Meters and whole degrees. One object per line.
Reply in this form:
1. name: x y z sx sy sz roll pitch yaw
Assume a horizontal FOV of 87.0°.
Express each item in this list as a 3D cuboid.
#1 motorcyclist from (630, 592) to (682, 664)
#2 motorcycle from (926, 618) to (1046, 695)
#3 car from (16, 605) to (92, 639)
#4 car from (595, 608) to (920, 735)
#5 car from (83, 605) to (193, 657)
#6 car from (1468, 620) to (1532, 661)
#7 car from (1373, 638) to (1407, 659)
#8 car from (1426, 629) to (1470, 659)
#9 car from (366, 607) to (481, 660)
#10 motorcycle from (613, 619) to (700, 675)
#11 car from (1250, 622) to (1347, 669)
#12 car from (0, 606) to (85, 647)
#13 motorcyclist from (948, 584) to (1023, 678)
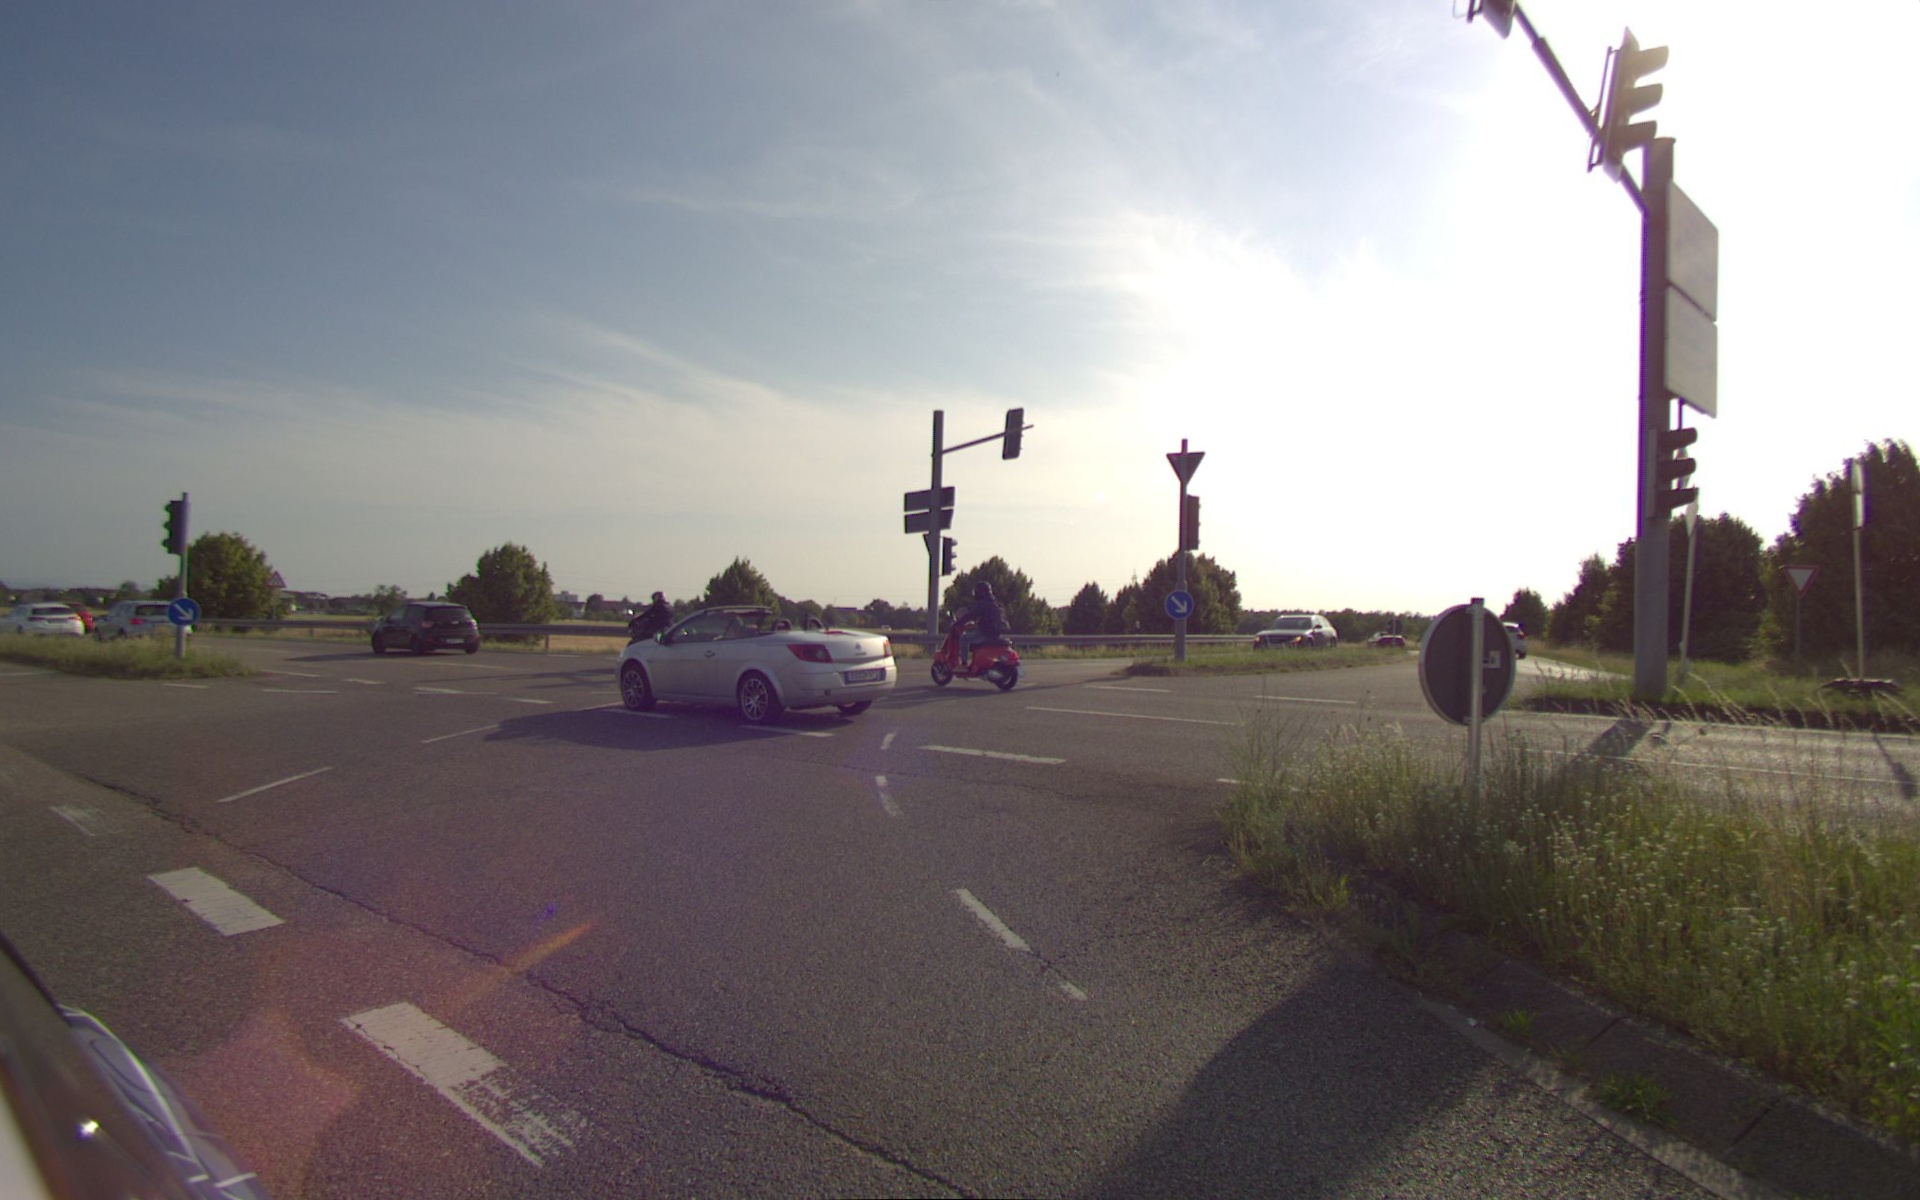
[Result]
1. motorcyclist: -6.564 0.594 21.859 0.896 1.514 0.690 -1 -1 40
2. motorcycle: 0.398 0.890 16.591 2.023 1.167 0.700 -1 -1 43
3. car: -41.869 0.992 46.756 4.011 1.478 1.647 0 -1 33
4. car: -2.727 0.793 13.013 4.448 1.363 1.677 0 -1 39
5. car: -25.845 0.925 31.782 4.084 1.535 1.671 0 -1 36
6. car: 22.754 1.668 42.782 1.940 1.546 4.414 0 -1 22
7. car: 31.309 3.489 73.729 1.642 1.364 3.982 0 -1 14
8. car: 28.148 2.520 58.486 1.913 1.599 4.102 0 -1 21
9. car: -15.300 0.919 28.835 3.517 1.423 1.669 0 -1 39
10. motorcycle: -6.580 0.983 21.887 2.276 1.147 0.694 -1 -1 41
11. car: 11.258 1.465 33.553 1.956 1.409 3.951 0 -1 36
12. car: -34.532 0.957 37.783 4.383 1.424 1.715 0 -1 34
13. motorcyclist: 0.411 0.494 16.571 1.020 1.476 0.697 -1 -1 43
